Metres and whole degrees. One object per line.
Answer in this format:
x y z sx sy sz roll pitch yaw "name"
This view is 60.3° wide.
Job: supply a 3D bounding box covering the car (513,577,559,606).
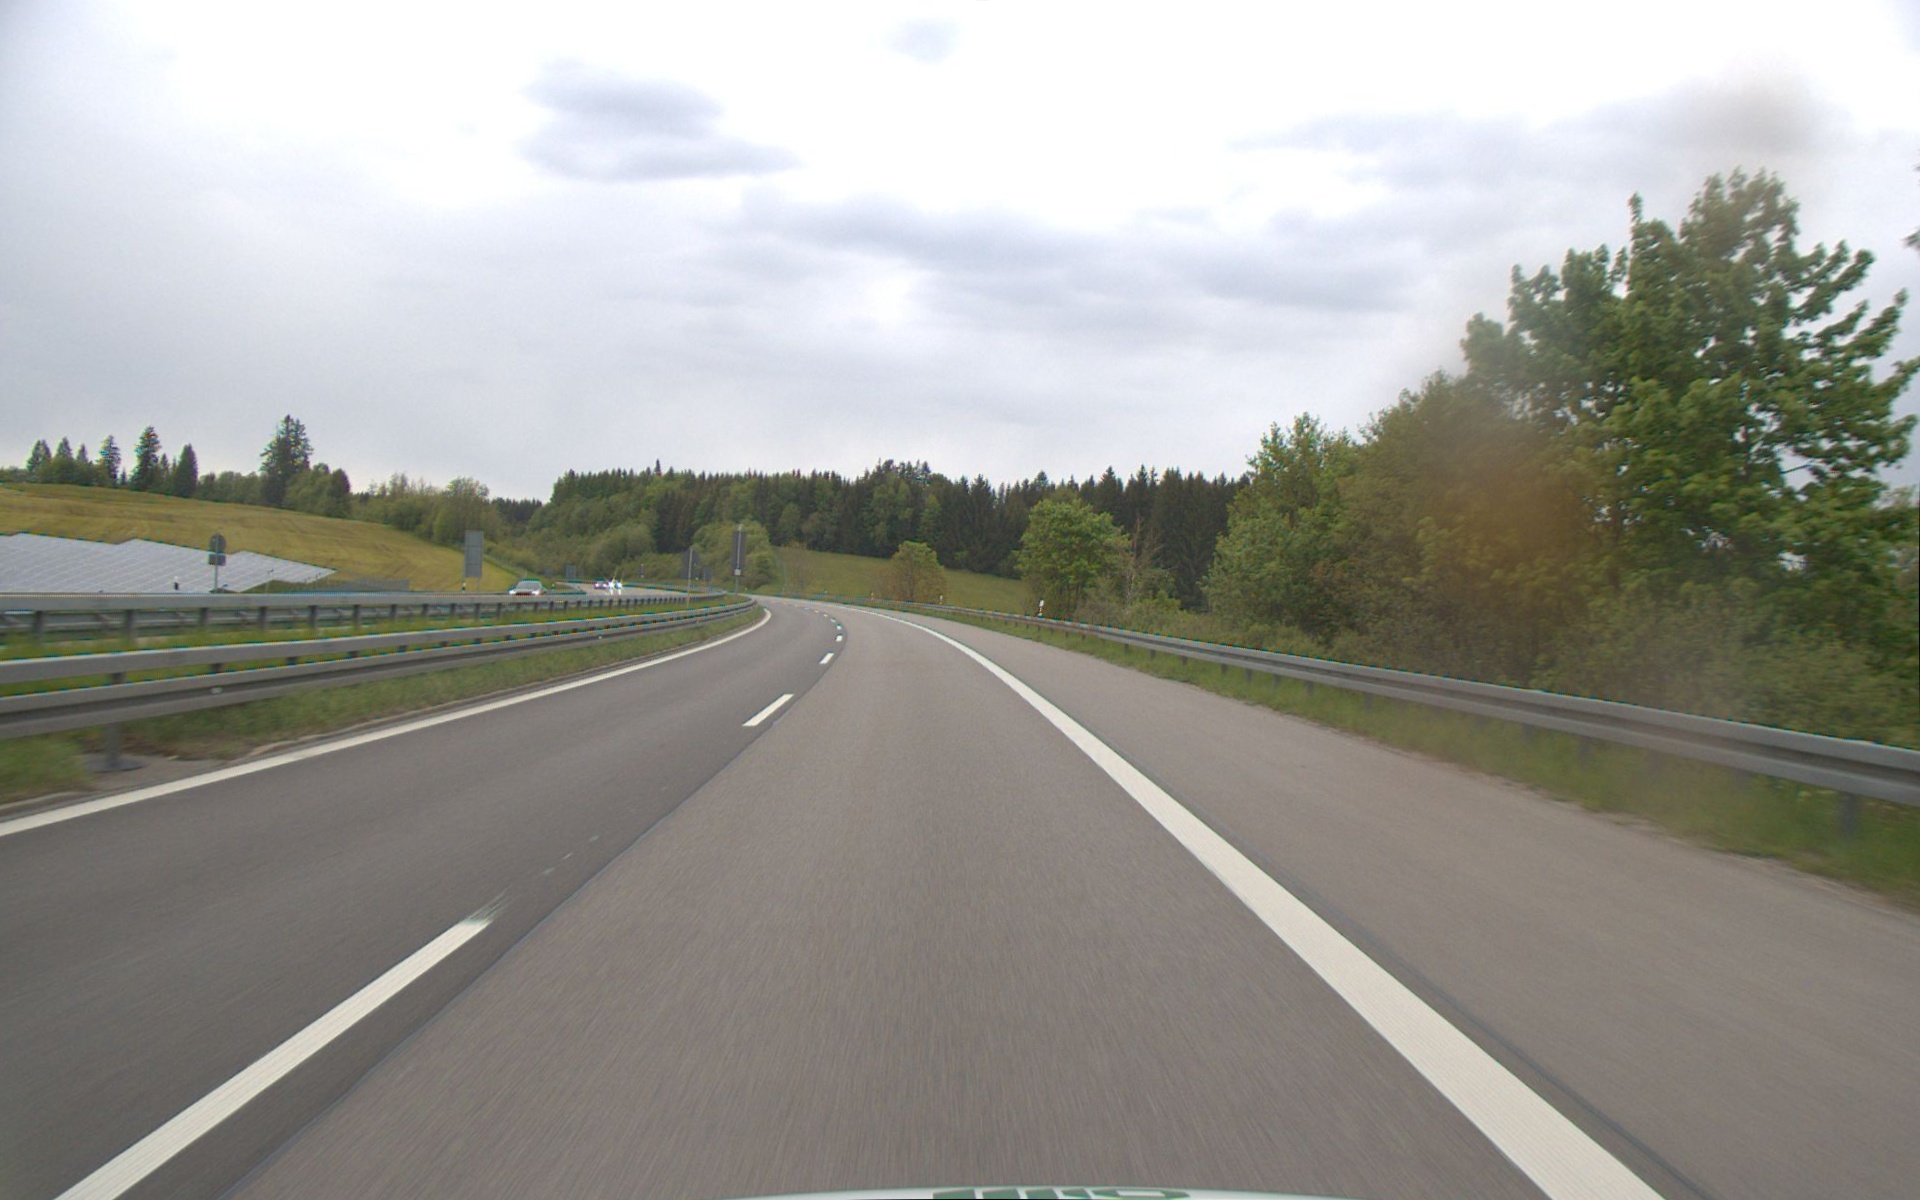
-25.397 -0.521 99.231 1.955 1.524 4.146 4 0 -5 "car"
